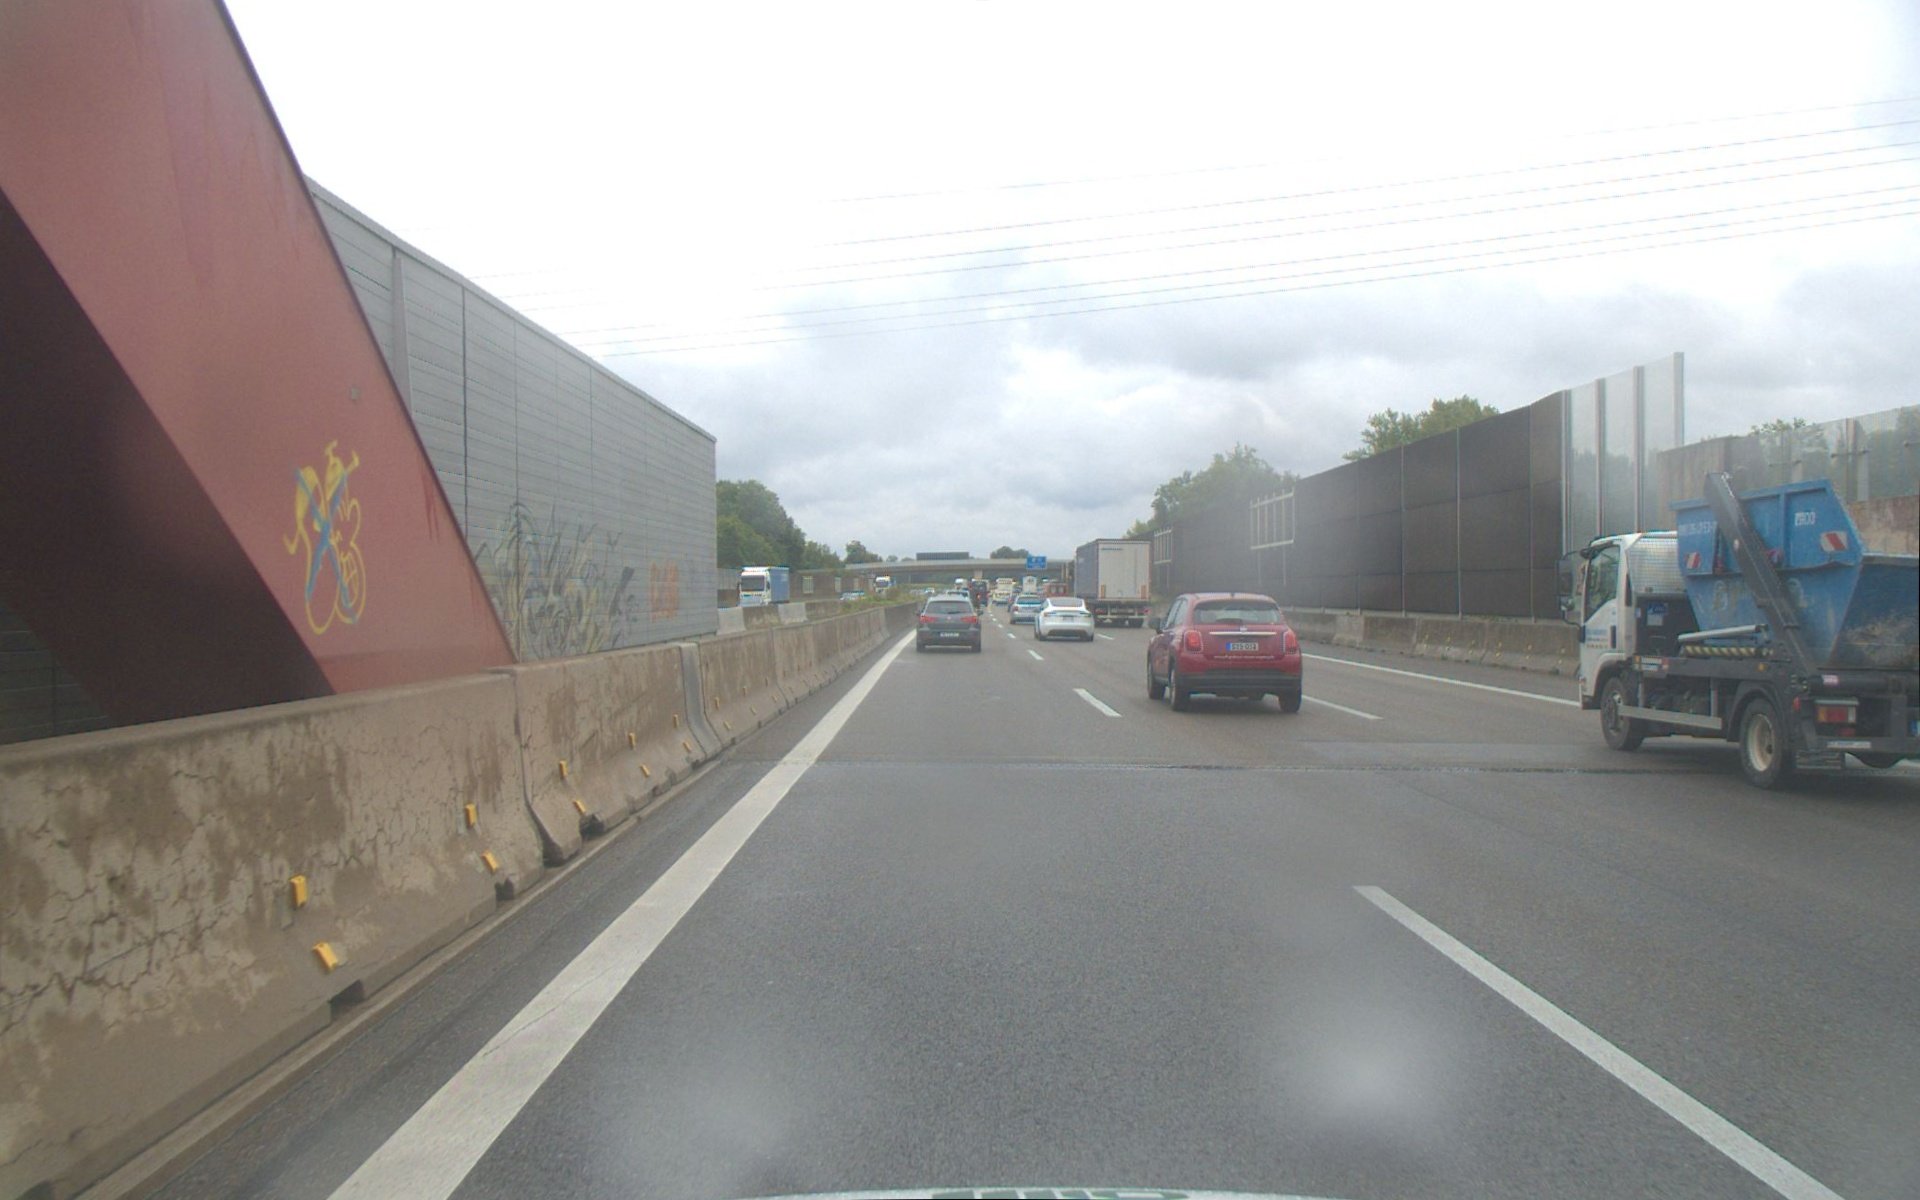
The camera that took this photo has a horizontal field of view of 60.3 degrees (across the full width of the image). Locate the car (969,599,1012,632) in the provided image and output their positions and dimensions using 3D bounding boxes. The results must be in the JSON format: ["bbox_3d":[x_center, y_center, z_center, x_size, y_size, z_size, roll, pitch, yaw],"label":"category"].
[{"bbox_3d":[1.549,0.800,86.225,1.954,1.612,3.998,-1,1,-3],"label":"car"}]

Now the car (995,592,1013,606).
[{"bbox_3d":[4.978,-0.170,187.798,1.953,1.545,3.999,1,0,-1],"label":"car"}]

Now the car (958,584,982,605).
[{"bbox_3d":[0.908,-0.471,148.278,1.953,1.847,3.999,1,0,-2],"label":"car"}]

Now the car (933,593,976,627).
[{"bbox_3d":[-0.277,0.415,73.261,1.746,1.431,3.624,0,0,-2],"label":"car"}]

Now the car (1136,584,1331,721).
[{"bbox_3d":[3.754,0.662,23.385,1.918,1.676,3.998,-1,1,-3],"label":"car"}]

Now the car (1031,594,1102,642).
[{"bbox_3d":[3.515,0.567,55.304,1.954,1.512,3.998,1,0,-3],"label":"car"}]

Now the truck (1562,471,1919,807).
[{"bbox_3d":[7.905,0.288,15.631,2.312,2.550,6.145,1,0,1],"label":"truck"}]

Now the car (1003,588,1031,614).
[{"bbox_3d":[4.531,0.058,132.295,1.953,2.049,3.998,1,0,-2],"label":"car"}]

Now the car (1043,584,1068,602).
[{"bbox_3d":[8.537,-0.640,148.487,1.953,1.545,3.999,1,0,-1],"label":"car"}]

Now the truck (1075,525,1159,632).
[{"bbox_3d":[7.398,-0.975,78.970,2.983,4.817,7.677,1,0,-2],"label":"truck"}]

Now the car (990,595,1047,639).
[{"bbox_3d":[2.133,0.607,61.526,1.953,1.545,4.000,1,0,0],"label":"car"}]

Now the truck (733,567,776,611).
[{"bbox_3d":[-18.393,-0.961,148.553,2.932,3.756,6.881,1,0,0],"label":"truck"}]

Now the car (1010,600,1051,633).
[{"bbox_3d":[3.513,0.809,82.925,1.668,1.570,3.836,0,0,-3],"label":"car"}]

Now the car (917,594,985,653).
[{"bbox_3d":[-0.280,0.587,44.026,1.728,1.478,3.999,1,0,-2],"label":"car"}]

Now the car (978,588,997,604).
[{"bbox_3d":[2.882,-0.392,176.389,1.952,1.652,4.000,1,0,0],"label":"car"}]
